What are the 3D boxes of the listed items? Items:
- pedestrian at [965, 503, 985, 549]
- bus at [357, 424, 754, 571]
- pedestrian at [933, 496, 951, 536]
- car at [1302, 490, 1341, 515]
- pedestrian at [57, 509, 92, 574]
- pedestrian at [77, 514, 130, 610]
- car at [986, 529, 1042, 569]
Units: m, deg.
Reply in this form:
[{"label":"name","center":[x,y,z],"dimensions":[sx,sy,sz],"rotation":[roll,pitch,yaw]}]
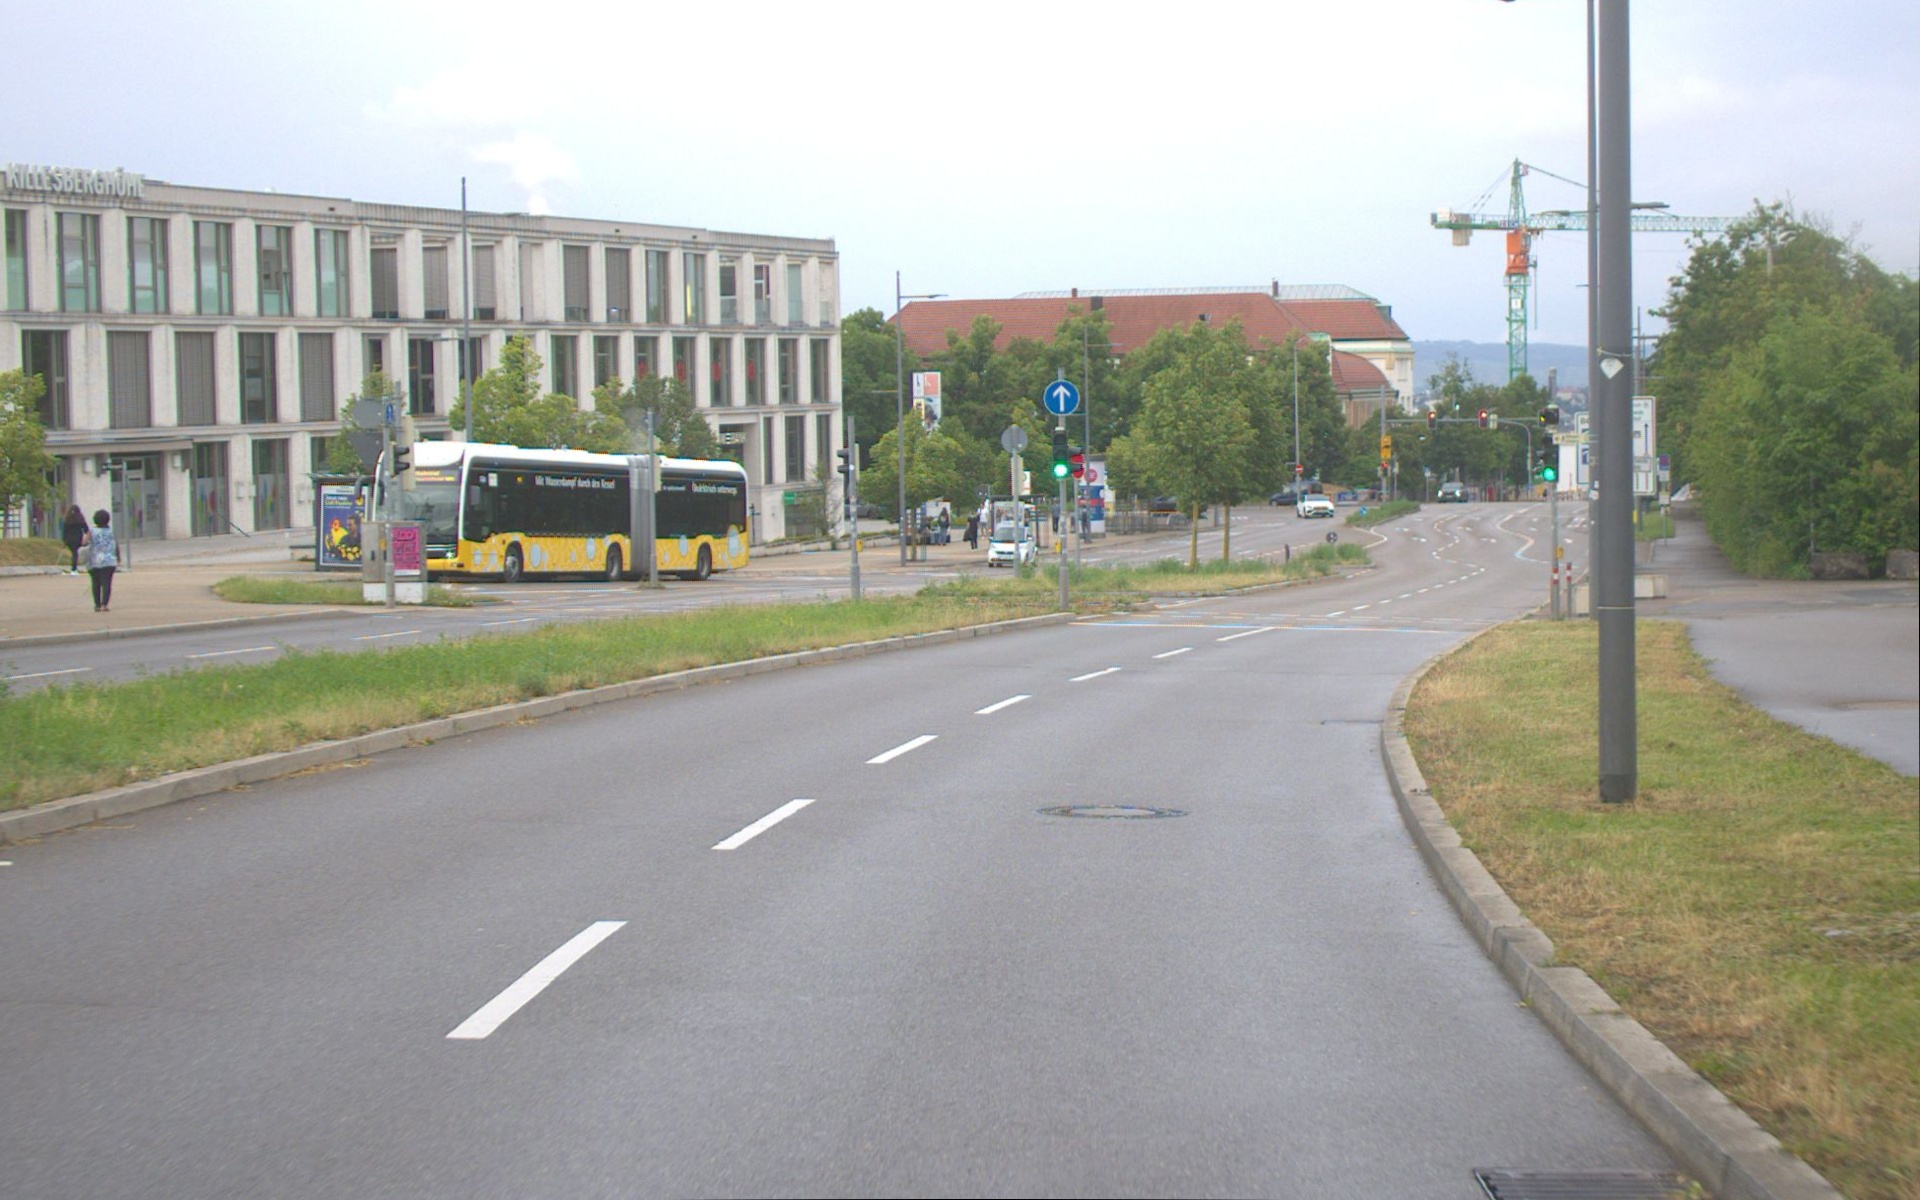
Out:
[{"label":"pedestrian","center":[0.645,-3.169,147.593],"dimensions":[0.748,1.940,0.838],"rotation":[0,0,-6]},{"label":"bus","center":[-10.130,-2.497,90.149],"dimensions":[2.787,3.345,18.209],"rotation":[0,0,19]},{"label":"pedestrian","center":[-0.821,-3.842,157.399],"dimensions":[0.748,1.846,0.838],"rotation":[0,0,-6]},{"label":"car","center":[22.532,-6.075,214.418],"dimensions":[1.770,1.489,4.065],"rotation":[0,0,15]},{"label":"pedestrian","center":[-20.597,-1.359,79.992],"dimensions":[0.682,1.519,0.719],"rotation":[0,0,-7]},{"label":"pedestrian","center":[-14.040,-0.616,56.361],"dimensions":[0.833,1.568,0.719],"rotation":[0,0,-13]},{"label":"car","center":[2.068,-1.939,130.833],"dimensions":[1.479,1.489,2.528],"rotation":[0,0,17]}]
